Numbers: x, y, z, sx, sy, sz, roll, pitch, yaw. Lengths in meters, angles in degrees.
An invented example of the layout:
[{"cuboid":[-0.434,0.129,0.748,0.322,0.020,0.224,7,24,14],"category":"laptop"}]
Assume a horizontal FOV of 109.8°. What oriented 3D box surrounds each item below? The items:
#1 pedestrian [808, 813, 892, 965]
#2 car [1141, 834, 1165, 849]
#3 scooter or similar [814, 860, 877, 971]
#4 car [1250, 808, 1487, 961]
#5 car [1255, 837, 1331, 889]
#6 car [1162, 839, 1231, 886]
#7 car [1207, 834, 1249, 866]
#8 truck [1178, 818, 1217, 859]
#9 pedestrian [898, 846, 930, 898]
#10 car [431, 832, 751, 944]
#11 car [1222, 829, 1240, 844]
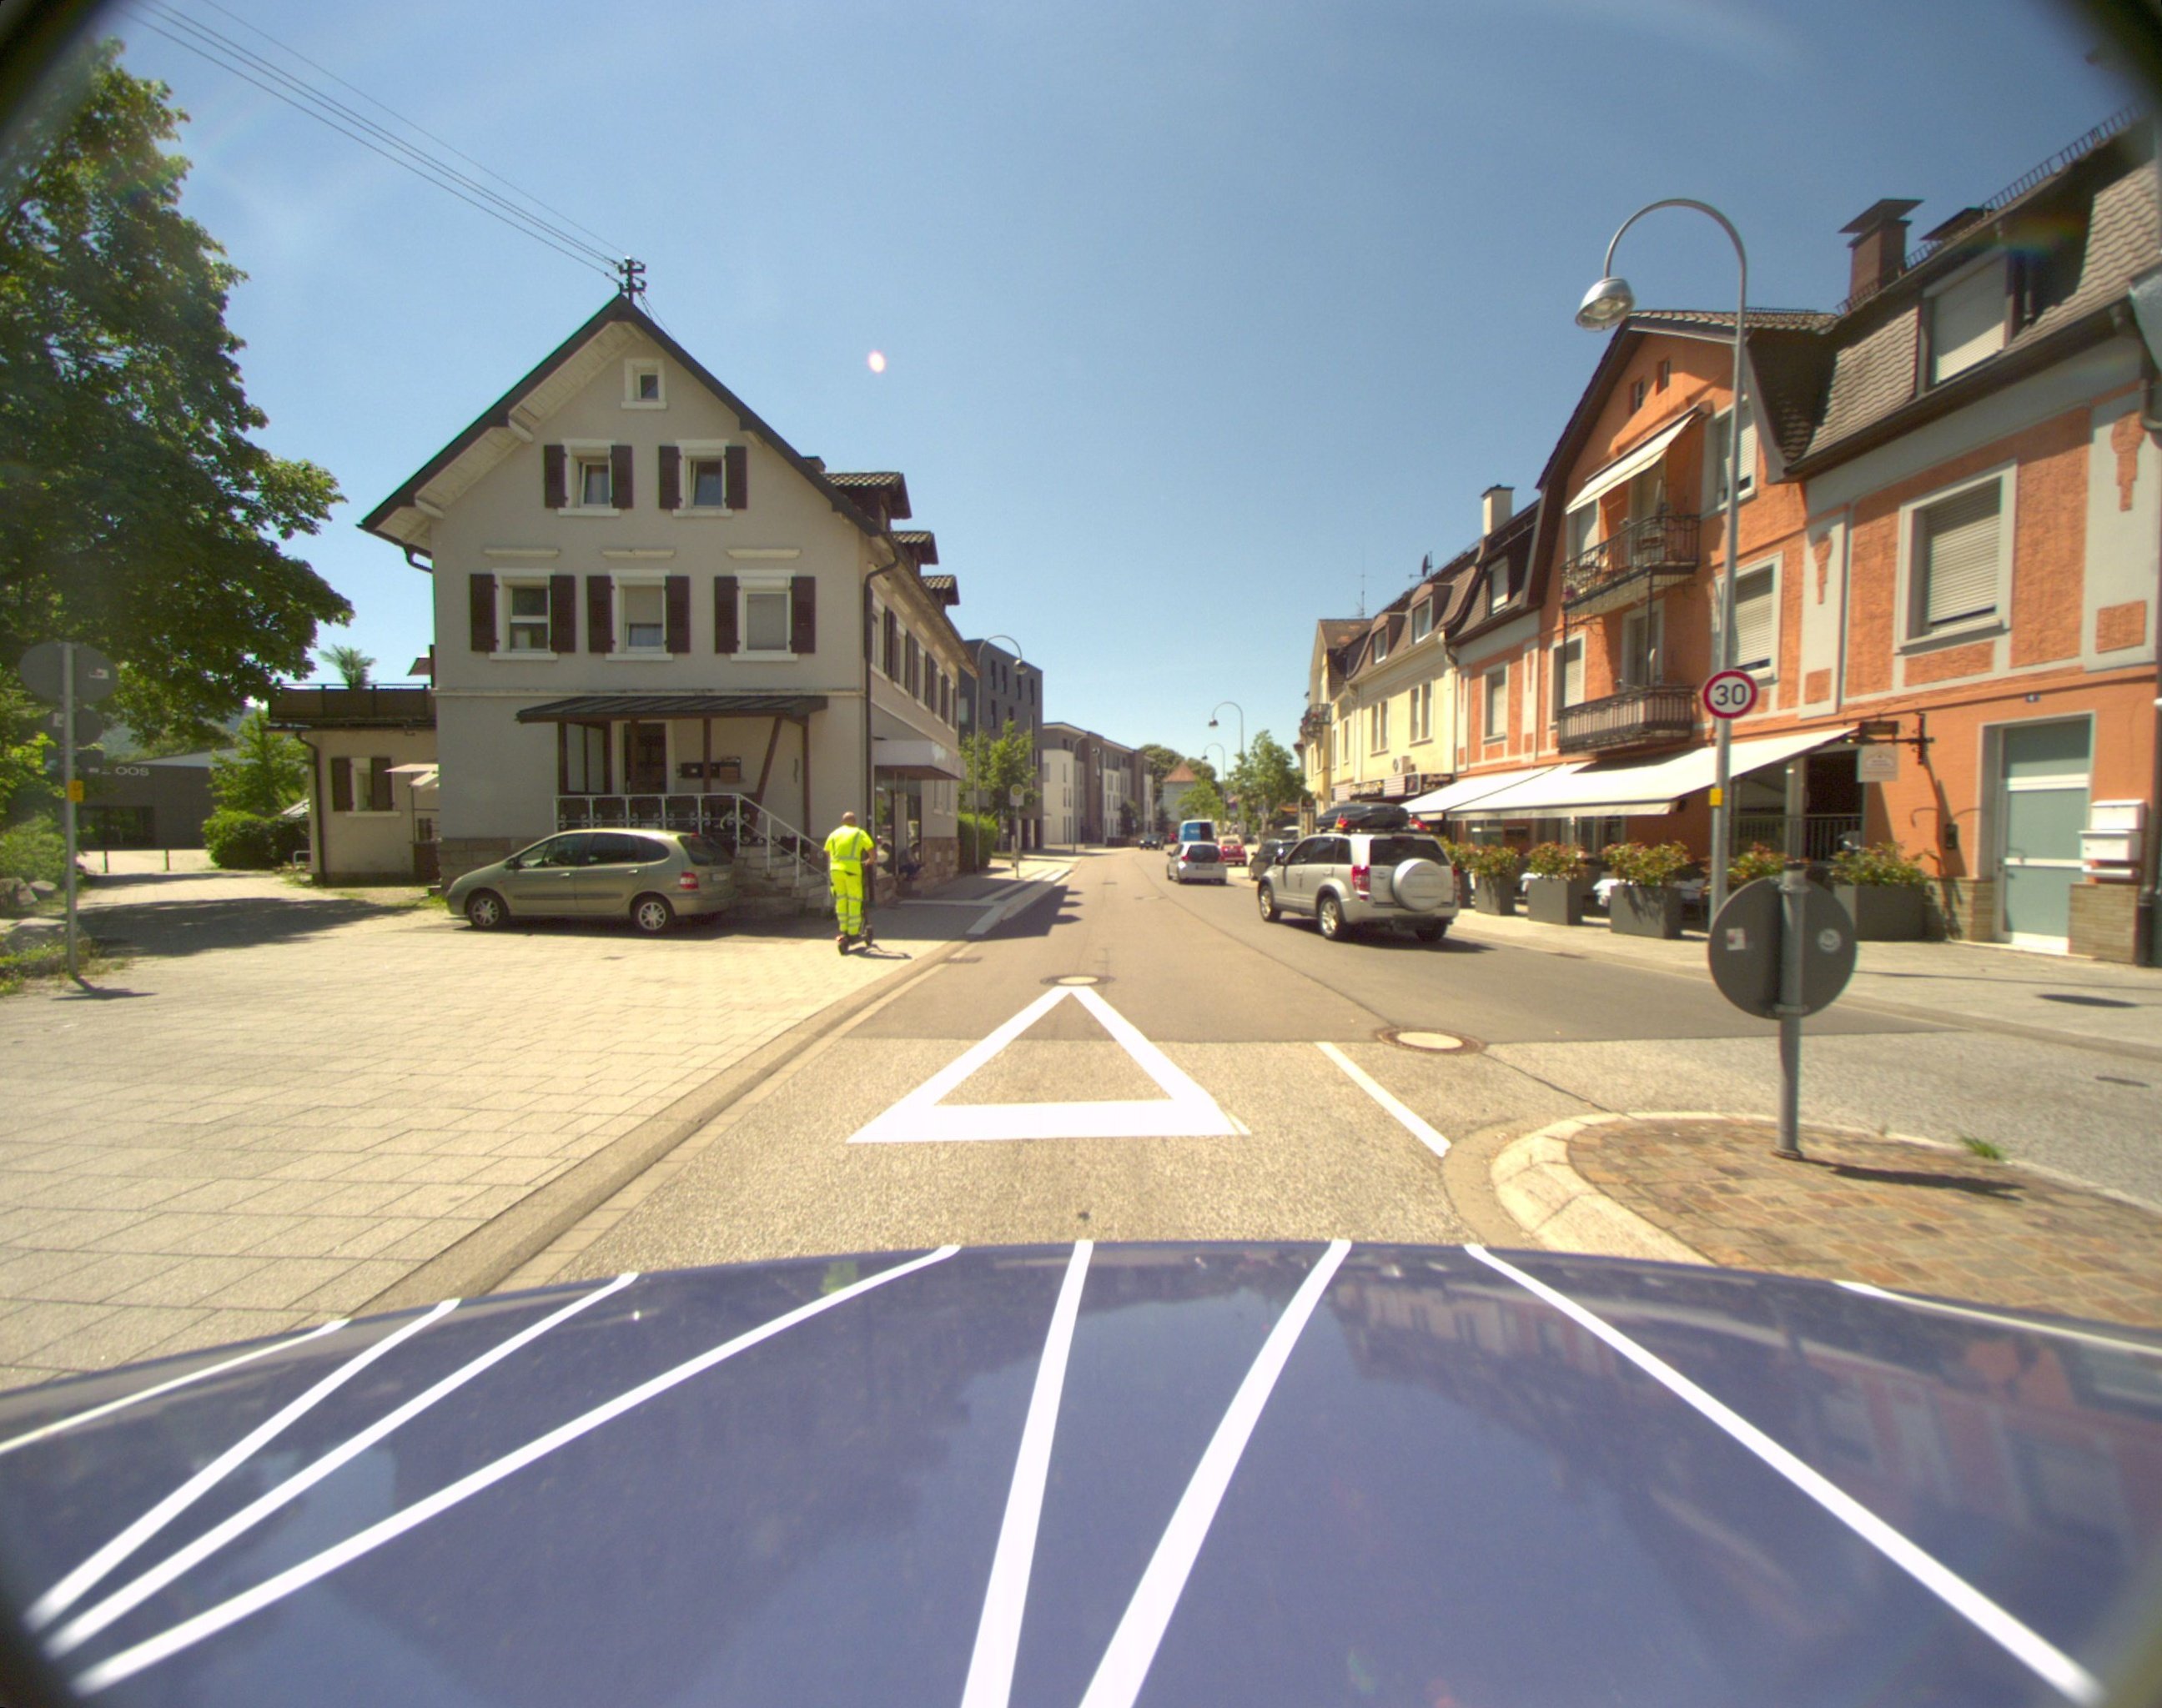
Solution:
[{"cuboid":[-3.168,0.457,10.530,0.921,2.019,0.899,0,3,-4],"category":"pedestrian"},{"cuboid":[7.871,-1.414,82.733,1.751,1.537,3.598,-1,2,19],"category":"car"},{"cuboid":[-3.195,0.787,10.393,0.527,1.365,1.346,0,2,-4],"category":"scooter or similar"},{"cuboid":[4.462,0.343,12.677,1.930,2.096,4.446,0,2,-5],"category":"car"},{"cuboid":[7.010,0.229,25.488,1.681,1.537,3.946,-2,2,4],"category":"car"},{"cuboid":[3.974,0.259,26.730,1.682,1.450,3.591,1,2,-3],"category":"car"},{"cuboid":[7.520,-0.244,39.189,1.681,1.537,3.593,-2,2,4],"category":"car"},{"cuboid":[7.179,-0.965,47.093,1.960,2.357,4.336,-2,2,4],"category":"truck"},{"cuboid":[-4.194,0.450,19.103,0.685,1.279,0.580,0,2,-3],"category":"pedestrian"},{"cuboid":[-7.696,0.491,12.200,3.996,1.587,1.795,1,1,2],"category":"car"},{"cuboid":[16.409,-1.944,83.122,1.680,1.537,3.597,-1,2,16],"category":"car"}]
